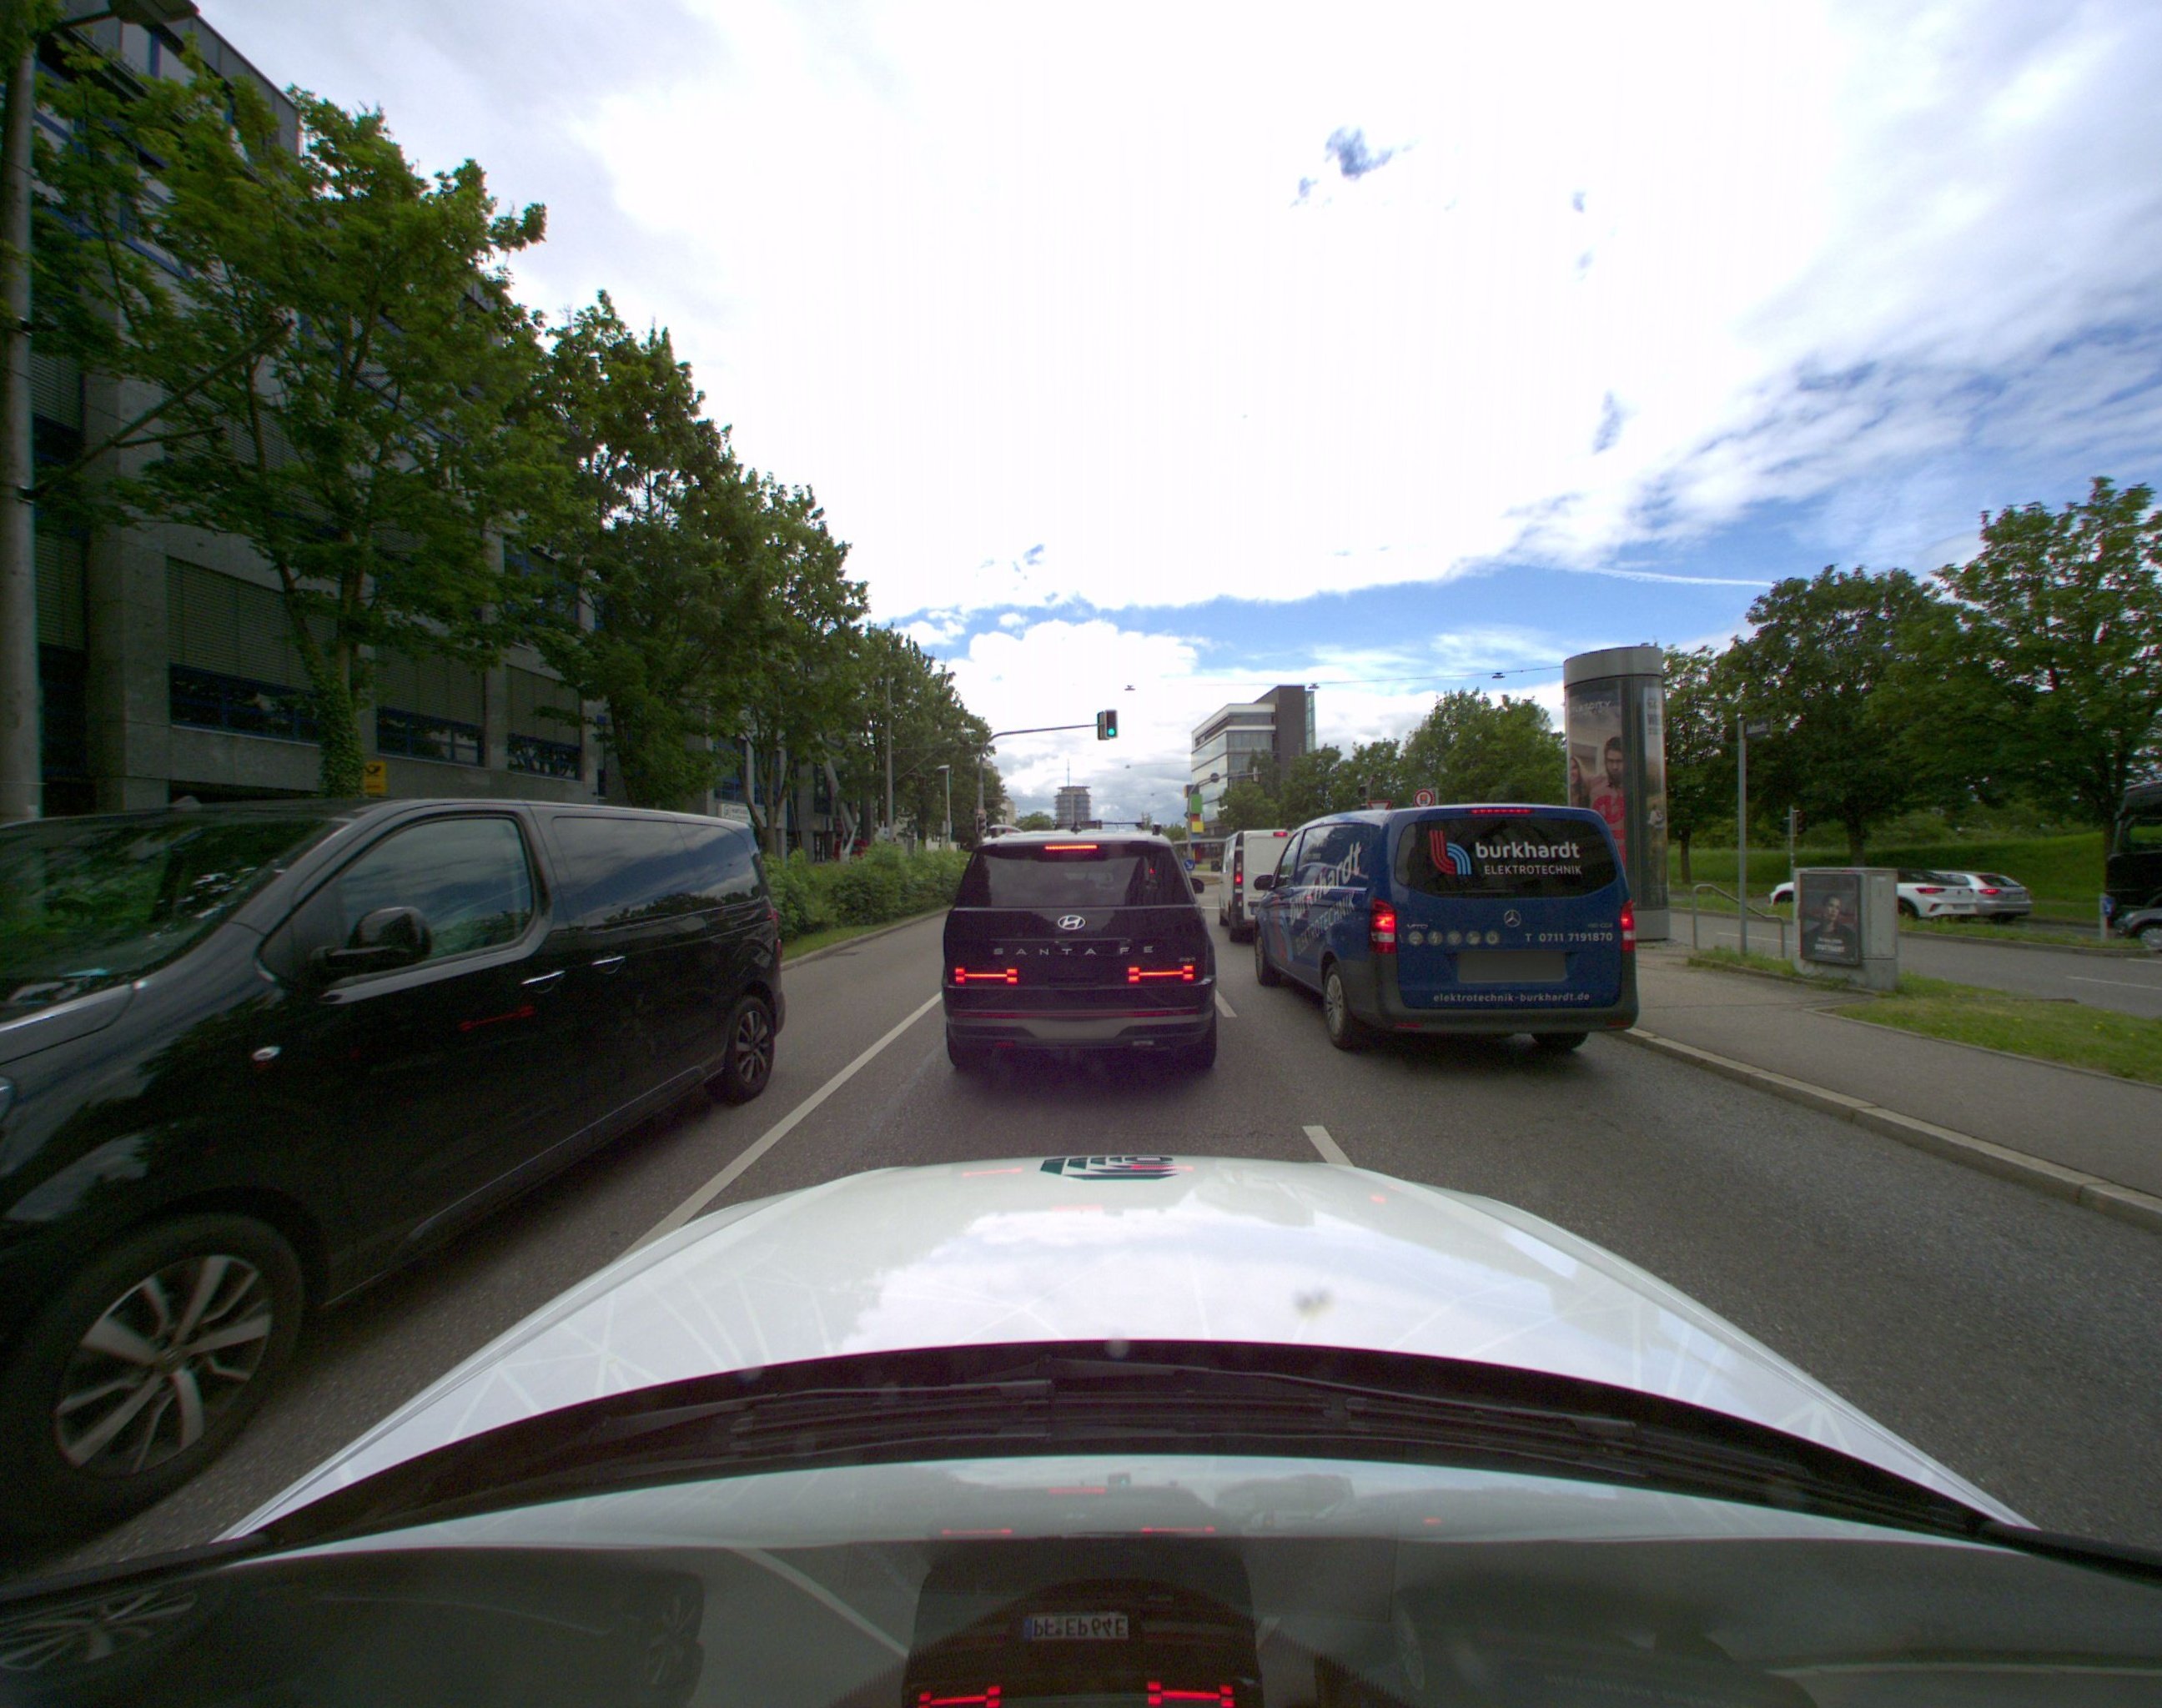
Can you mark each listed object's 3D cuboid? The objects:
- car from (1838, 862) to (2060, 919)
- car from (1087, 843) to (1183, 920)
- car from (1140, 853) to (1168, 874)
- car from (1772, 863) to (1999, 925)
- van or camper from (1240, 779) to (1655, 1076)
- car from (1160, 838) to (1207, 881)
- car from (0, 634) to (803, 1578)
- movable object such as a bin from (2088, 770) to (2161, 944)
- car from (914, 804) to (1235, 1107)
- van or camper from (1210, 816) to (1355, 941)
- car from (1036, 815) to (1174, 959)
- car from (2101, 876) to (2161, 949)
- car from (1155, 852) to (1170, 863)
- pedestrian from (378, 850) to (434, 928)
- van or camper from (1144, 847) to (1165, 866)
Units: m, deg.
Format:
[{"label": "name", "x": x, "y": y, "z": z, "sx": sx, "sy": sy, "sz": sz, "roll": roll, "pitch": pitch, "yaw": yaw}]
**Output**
[{"label": "car", "x": 25.099, "y": 1.001, "z": 23.774, "sx": 1.994, "sy": 1.453, "sz": 3.985, "roll": 1, "pitch": 0, "yaw": -11}, {"label": "car", "x": 1.486, "y": 0.652, "z": 20.613, "sx": 1.764, "sy": 1.717, "sz": 4.353, "roll": -1, "pitch": -1, "yaw": 12}, {"label": "car", "x": 5.835, "y": 0.774, "z": 65.564, "sx": 1.986, "sy": 1.618, "sz": 4.001, "roll": -1, "pitch": -1, "yaw": 2}, {"label": "car", "x": 21.766, "y": 1.020, "z": 22.276, "sx": 1.994, "sy": 1.453, "sz": 3.985, "roll": 1, "pitch": 0, "yaw": -11}, {"label": "van or camper", "x": 2.904, "y": 0.486, "z": 7.879, "sx": 1.853, "sy": 1.911, "sz": 5.034, "roll": -1, "pitch": 0, "yaw": 2}, {"label": "car", "x": 4.994, "y": 0.274, "z": 40.195, "sx": 1.985, "sy": 2.014, "sz": 4.003, "roll": -1, "pitch": -1, "yaw": 3}, {"label": "car", "x": -3.180, "y": 0.573, "z": 3.723, "sx": 1.986, "sy": 1.948, "sz": 4.738, "roll": -3, "pitch": -1, "yaw": 2}, {"label": "movable object such as a bin", "x": 26.259, "y": 0.013, "z": 15.506, "sx": 2.860, "sy": 3.903, "sz": 8.536, "roll": -1, "pitch": -1, "yaw": -11}, {"label": "car", "x": 0.023, "y": 0.607, "z": 6.778, "sx": 1.862, "sy": 1.760, "sz": 3.881, "roll": -1, "pitch": 0, "yaw": 2}, {"label": "van or camper", "x": 3.647, "y": 0.400, "z": 15.605, "sx": 1.984, "sy": 2.013, "sz": 4.659, "roll": -1, "pitch": 0, "yaw": 5}, {"label": "car", "x": 0.403, "y": 0.473, "z": 13.566, "sx": 1.908, "sy": 2.003, "sz": 3.881, "roll": -1, "pitch": 0, "yaw": 2}, {"label": "car", "x": 23.004, "y": 1.221, "z": 15.524, "sx": 1.994, "sy": 1.453, "sz": 3.985, "roll": 1, "pitch": 0, "yaw": -11}, {"label": "car", "x": 13.171, "y": 0.537, "z": 131.712, "sx": 1.987, "sy": 1.684, "sz": 3.998, "roll": -1, "pitch": -1, "yaw": -1}, {"label": "pedestrian", "x": -16.852, "y": 0.861, "z": 20.342, "sx": 0.771, "sy": 1.894, "sz": 0.731, "roll": -1, "pitch": -1, "yaw": 1}, {"label": "van or camper", "x": 10.581, "y": 0.360, "z": 117.200, "sx": 1.979, "sy": 2.547, "sz": 6.603, "roll": -1, "pitch": -1, "yaw": 14}]
